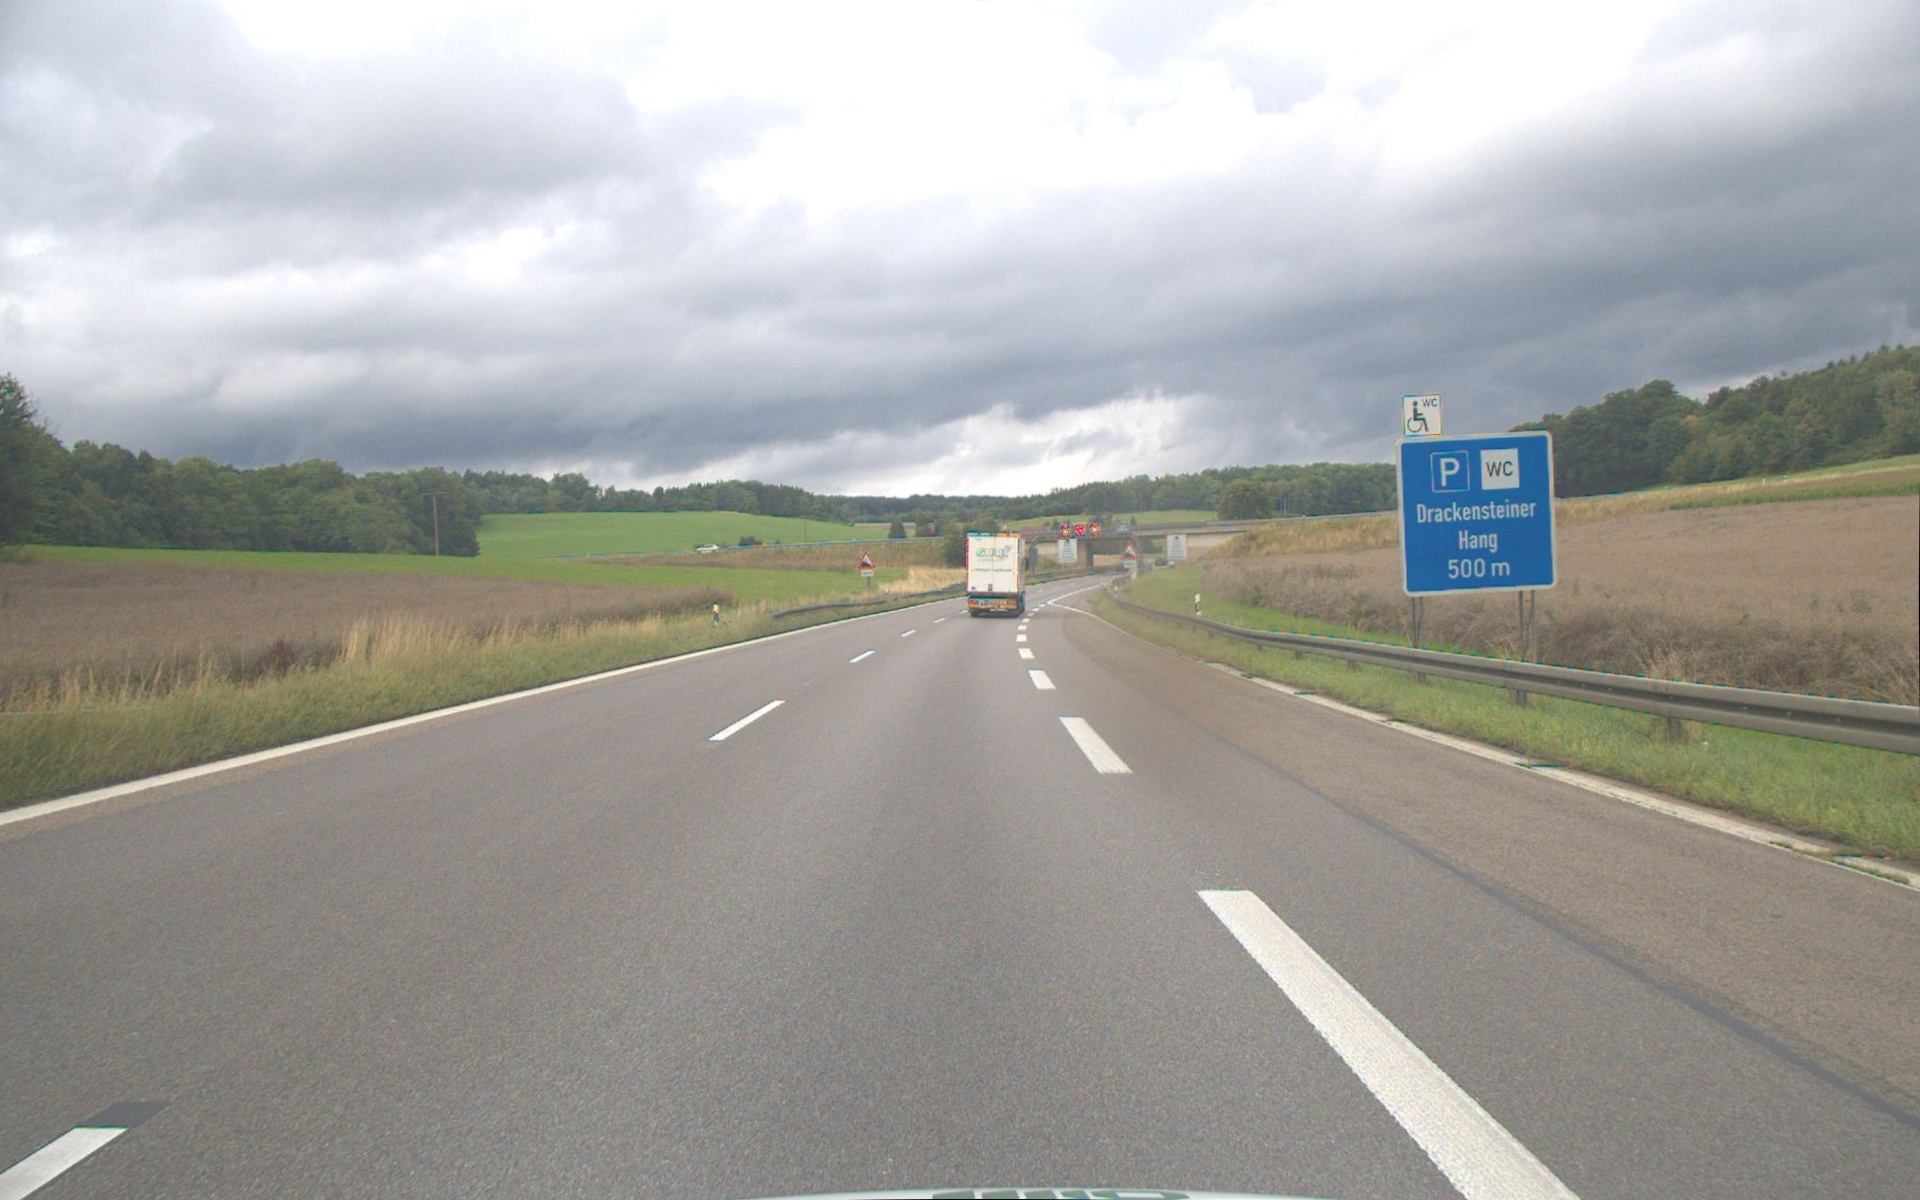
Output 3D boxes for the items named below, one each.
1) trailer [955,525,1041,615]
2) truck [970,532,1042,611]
[{"bbox_3d":[2.124,-1.493,85.012,3.726,4.247,14.816,0,1,4],"label":"trailer"},{"bbox_3d":[2.651,-1.592,92.334,3.708,4.204,8.269,0,1,4],"label":"truck"}]
